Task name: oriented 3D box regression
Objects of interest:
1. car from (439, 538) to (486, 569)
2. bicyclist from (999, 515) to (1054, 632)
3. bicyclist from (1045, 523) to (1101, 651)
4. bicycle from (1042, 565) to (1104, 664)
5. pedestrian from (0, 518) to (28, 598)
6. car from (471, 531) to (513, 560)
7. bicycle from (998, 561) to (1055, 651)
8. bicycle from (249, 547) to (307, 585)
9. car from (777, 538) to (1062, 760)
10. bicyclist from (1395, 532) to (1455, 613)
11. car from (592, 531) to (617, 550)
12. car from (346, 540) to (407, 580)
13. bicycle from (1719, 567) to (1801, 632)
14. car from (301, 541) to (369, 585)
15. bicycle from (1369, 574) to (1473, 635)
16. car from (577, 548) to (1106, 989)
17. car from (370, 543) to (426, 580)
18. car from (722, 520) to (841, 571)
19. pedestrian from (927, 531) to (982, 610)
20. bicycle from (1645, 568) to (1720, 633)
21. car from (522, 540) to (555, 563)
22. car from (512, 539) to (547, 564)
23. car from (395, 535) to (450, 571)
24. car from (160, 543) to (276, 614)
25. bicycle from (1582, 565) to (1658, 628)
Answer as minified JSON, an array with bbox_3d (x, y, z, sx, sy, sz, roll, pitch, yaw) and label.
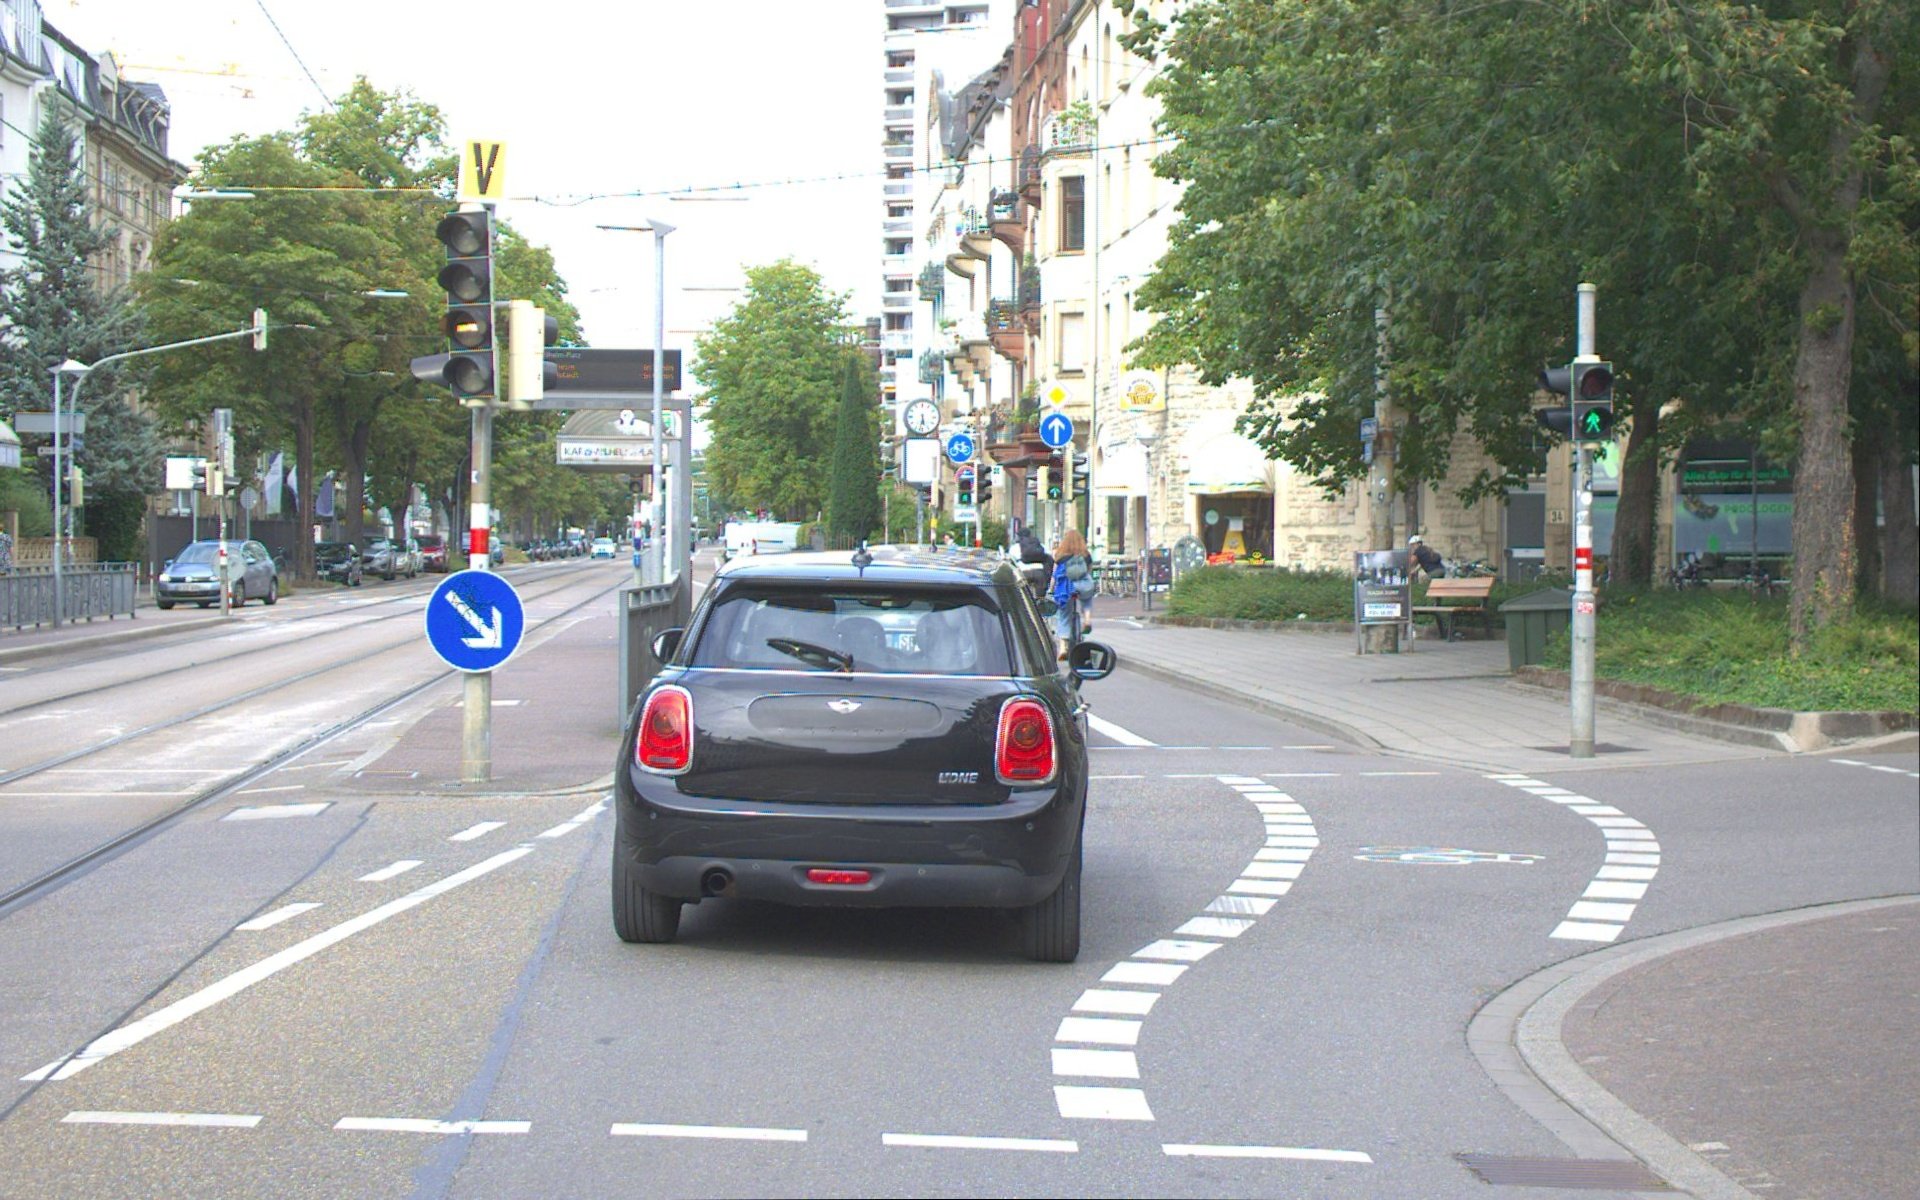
[{"bbox_3d":[-24.831,-2.340,171.794,1.993,1.546,4.001,0,1,-3],"label":"car"},{"bbox_3d":[0.889,-0.363,46.285,0.684,1.558,0.998,0,1,-2],"label":"bicyclist"},{"bbox_3d":[1.385,-0.169,42.209,0.594,1.545,1.014,0,1,-4],"label":"bicyclist"},{"bbox_3d":[1.380,0.169,42.218,0.598,1.166,1.697,0,1,-4],"label":"bicycle"},{"bbox_3d":[-21.110,-0.934,76.140,0.730,1.777,0.835,0,1,-3],"label":"pedestrian"},{"bbox_3d":[-25.573,-3.001,188.007,1.993,1.546,4.001,0,1,-3],"label":"car"},{"bbox_3d":[0.885,0.072,46.351,0.684,1.166,1.697,0,1,-2],"label":"bicycle"},{"bbox_3d":[-20.379,-1.034,102.746,1.667,1.115,0.573,-1,2,-43],"label":"bicycle"},{"bbox_3d":[-0.331,0.297,25.303,1.927,1.504,4.000,0,1,-2],"label":"car"},{"bbox_3d":[8.526,-0.503,63.006,0.914,1.468,0.615,1,1,37],"label":"bicyclist"},{"bbox_3d":[-25.710,-4.311,248.718,1.766,1.390,4.001,0,1,-5],"label":"car"},{"bbox_3d":[-20.728,-1.423,122.256,1.766,1.390,4.001,0,1,-5],"label":"car"},{"bbox_3d":[14.124,-0.015,60.656,0.667,1.124,1.889,1,1,38],"label":"bicycle"},{"bbox_3d":[-20.019,-1.204,110.251,1.766,1.390,4.001,0,1,-5],"label":"car"},{"bbox_3d":[8.455,0.075,63.067,1.819,1.073,0.615,1,1,37],"label":"bicycle"},{"bbox_3d":[-0.373,0.541,13.683,1.752,1.436,4.000,2,1,1],"label":"car"},{"bbox_3d":[-21.220,-1.457,129.916,1.766,1.390,4.001,0,1,-5],"label":"car"},{"bbox_3d":[-8.029,-2.481,155.316,5.026,2.265,2.396,-1,1,-44],"label":"car"},{"bbox_3d":[-0.118,-0.652,75.315,0.732,1.668,0.833,-2,2,43],"label":"pedestrian"},{"bbox_3d":[13.000,-0.001,61.815,0.532,1.124,1.889,1,1,38],"label":"bicycle"},{"bbox_3d":[-28.763,-3.307,234.603,1.993,1.546,4.001,0,1,-3],"label":"car"},{"bbox_3d":[-28.071,-3.170,224.157,1.993,1.546,4.001,0,1,-3],"label":"car"},{"bbox_3d":[-23.261,-2.031,148.874,1.993,1.546,4.001,0,1,-3],"label":"car"},{"bbox_3d":[-16.096,-0.488,74.765,1.751,1.436,4.001,2,1,-2],"label":"car"},{"bbox_3d":[12.022,-0.071,62.608,0.532,1.124,1.889,1,1,38],"label":"bicycle"}]
